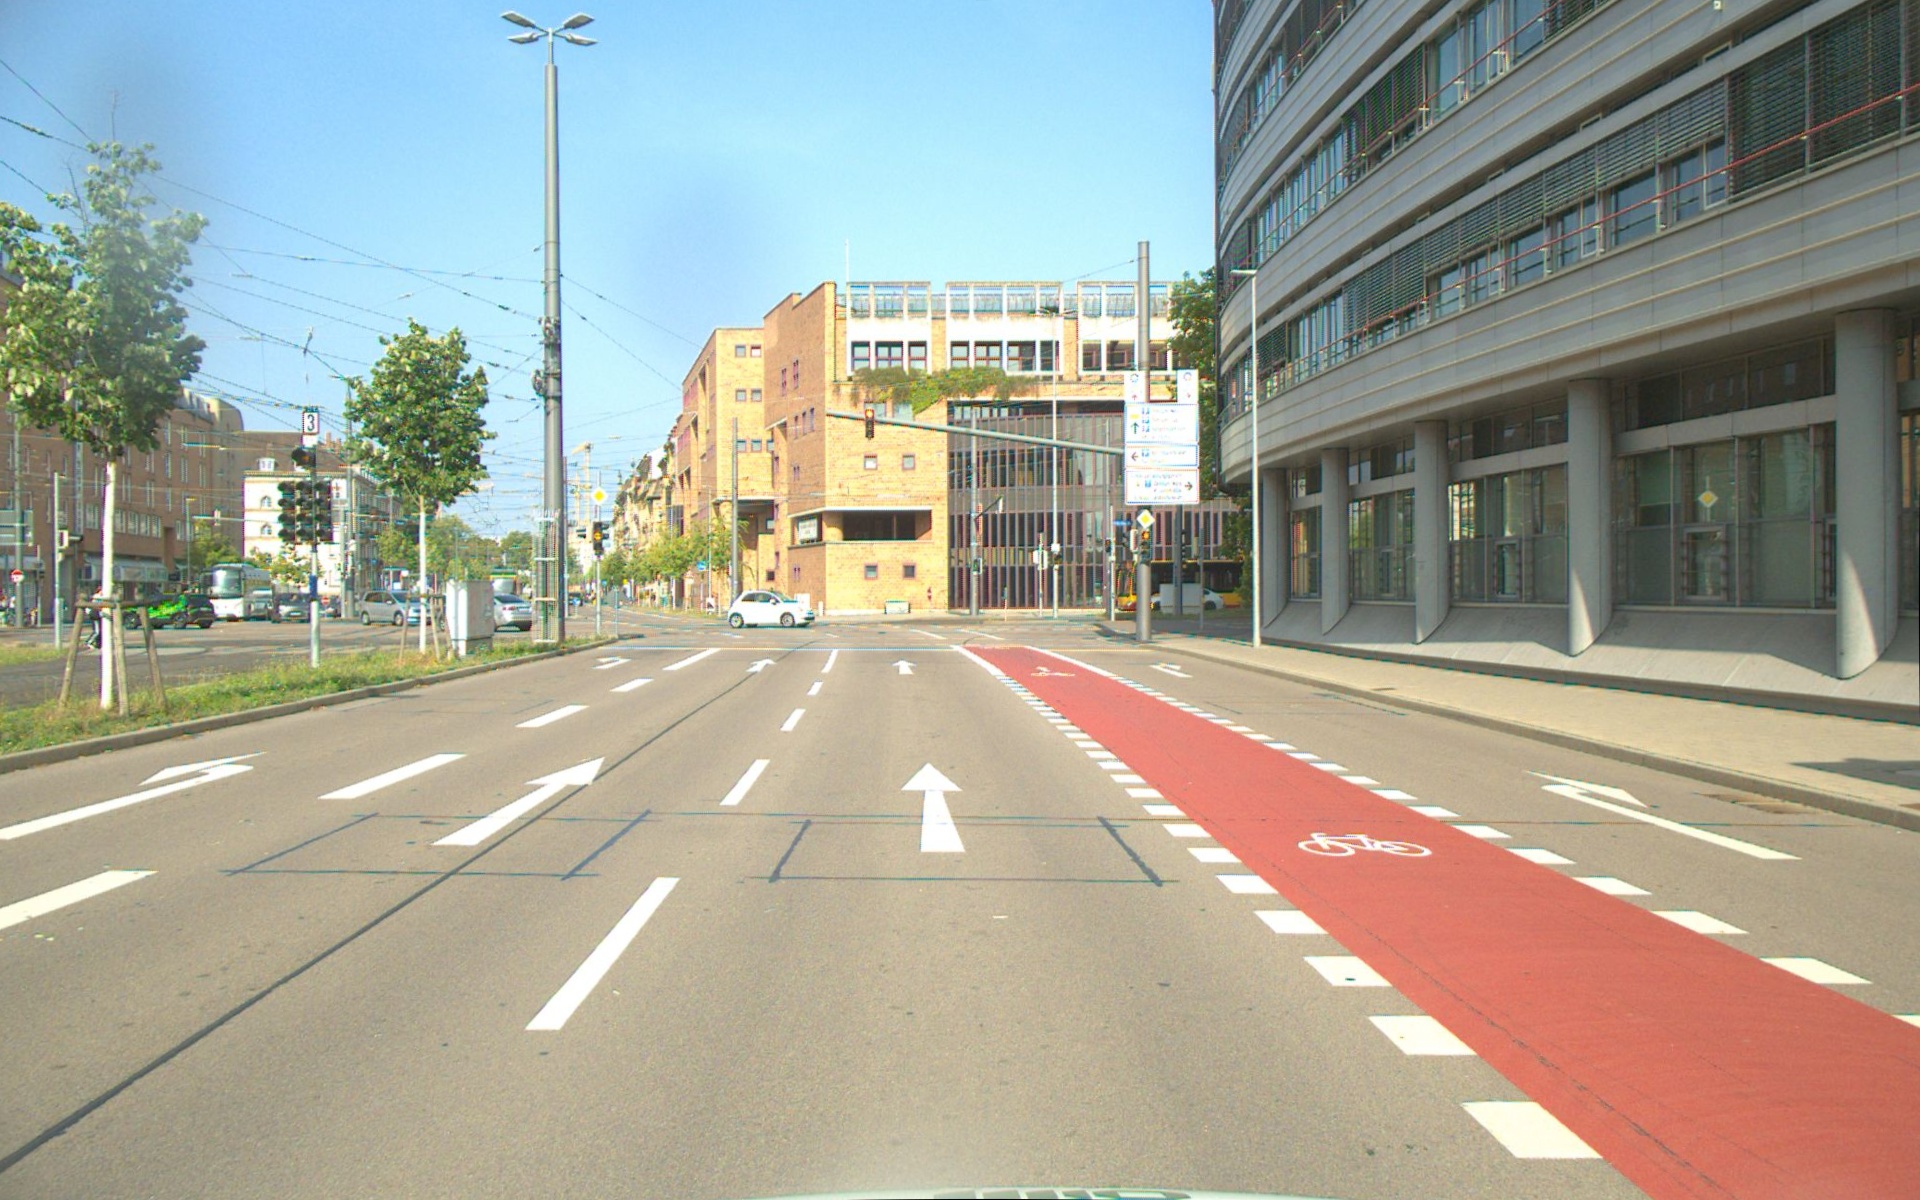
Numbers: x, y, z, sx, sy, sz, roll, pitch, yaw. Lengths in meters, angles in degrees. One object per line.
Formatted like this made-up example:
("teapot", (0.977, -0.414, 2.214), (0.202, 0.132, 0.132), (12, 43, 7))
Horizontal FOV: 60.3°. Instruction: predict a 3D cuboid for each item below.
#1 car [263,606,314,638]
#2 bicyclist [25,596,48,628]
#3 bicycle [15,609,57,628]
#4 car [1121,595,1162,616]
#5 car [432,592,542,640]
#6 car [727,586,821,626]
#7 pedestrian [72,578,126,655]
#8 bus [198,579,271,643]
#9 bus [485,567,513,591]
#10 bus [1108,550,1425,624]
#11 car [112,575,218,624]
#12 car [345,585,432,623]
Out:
("car", (-34.629, 1.116, 85.266), (1.682, 1.518, 3.560), (-3, 2, -34))
("bicyclist", (-49.753, 0.645, 89.093), (0.971, 1.725, 0.667), (0, -1, -19))
("bicycle", (-49.745, 1.014, 89.090), (1.930, 0.987, 0.418), (0, -1, -19))
("car", (9.280, 0.300, 84.558), (1.913, 0.975, 1.093), (1, -2, -4))
("car", (-18.215, 0.623, 63.726), (3.796, 1.786, 1.711), (-1, -1, 19))
("car", (-7.539, 0.265, 66.959), (3.364, 1.569, 1.736), (-1, -1, 17))
("pedestrian", (-23.055, 0.445, 44.306), (1.136, 2.049, 0.773), (0, -1, -14))
("bus", (-47.631, 0.812, 108.887), (2.701, 3.990, 12.164), (0, -1, -15))
("bus", (-40.634, -1.834, 145.759), (1.965, 2.049, 3.975), (-1, 0, -21))
("bus", (16.830, -0.723, 90.503), (17.301, 3.877, 2.856), (0, -1, -12))
("car", (-34.354, -0.002, 71.474), (3.904, 2.049, 2.000), (-1, -1, 20))
("car", (-26.397, 0.158, 76.362), (4.307, 1.663, 1.683), (1, 2, 38))
